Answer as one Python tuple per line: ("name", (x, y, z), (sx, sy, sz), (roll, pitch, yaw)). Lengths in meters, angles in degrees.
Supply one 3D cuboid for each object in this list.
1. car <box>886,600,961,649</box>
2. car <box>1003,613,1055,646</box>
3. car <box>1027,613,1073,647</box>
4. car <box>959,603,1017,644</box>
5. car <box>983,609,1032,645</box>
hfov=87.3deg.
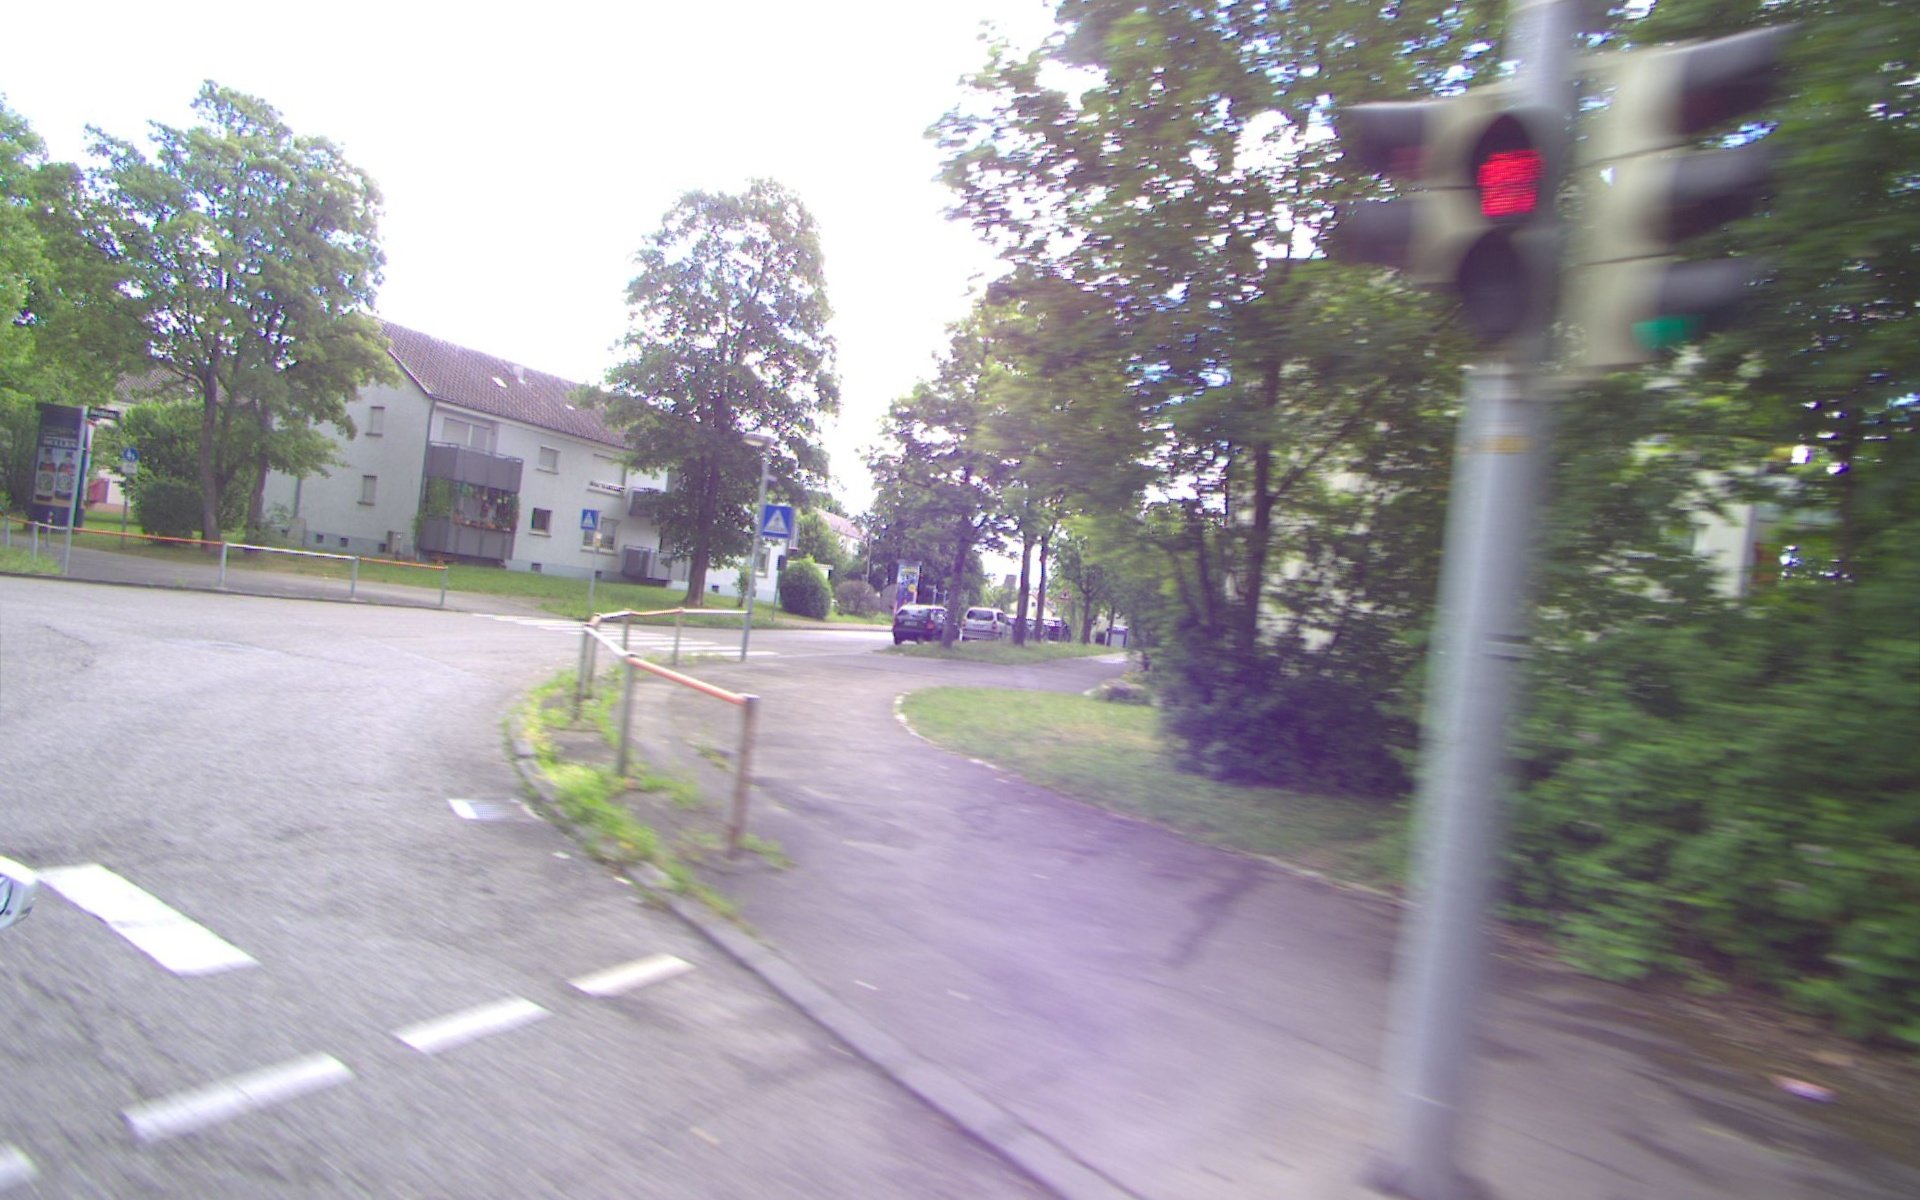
("car", (-1.238, 0.892, 35.630), (1.606, 1.482, 3.776), (7, -1, 12))
("car", (3.928, 1.688, 56.752), (2.084, 1.532, 3.960), (7, -1, 15))
("car", (5.626, 1.886, 62.608), (1.989, 1.809, 4.326), (7, -1, 15))
("car", (1.302, 1.081, 45.080), (1.757, 1.593, 4.002), (7, -1, 12))
("car", (2.459, 1.388, 51.308), (1.757, 1.532, 3.961), (7, -1, 11))
